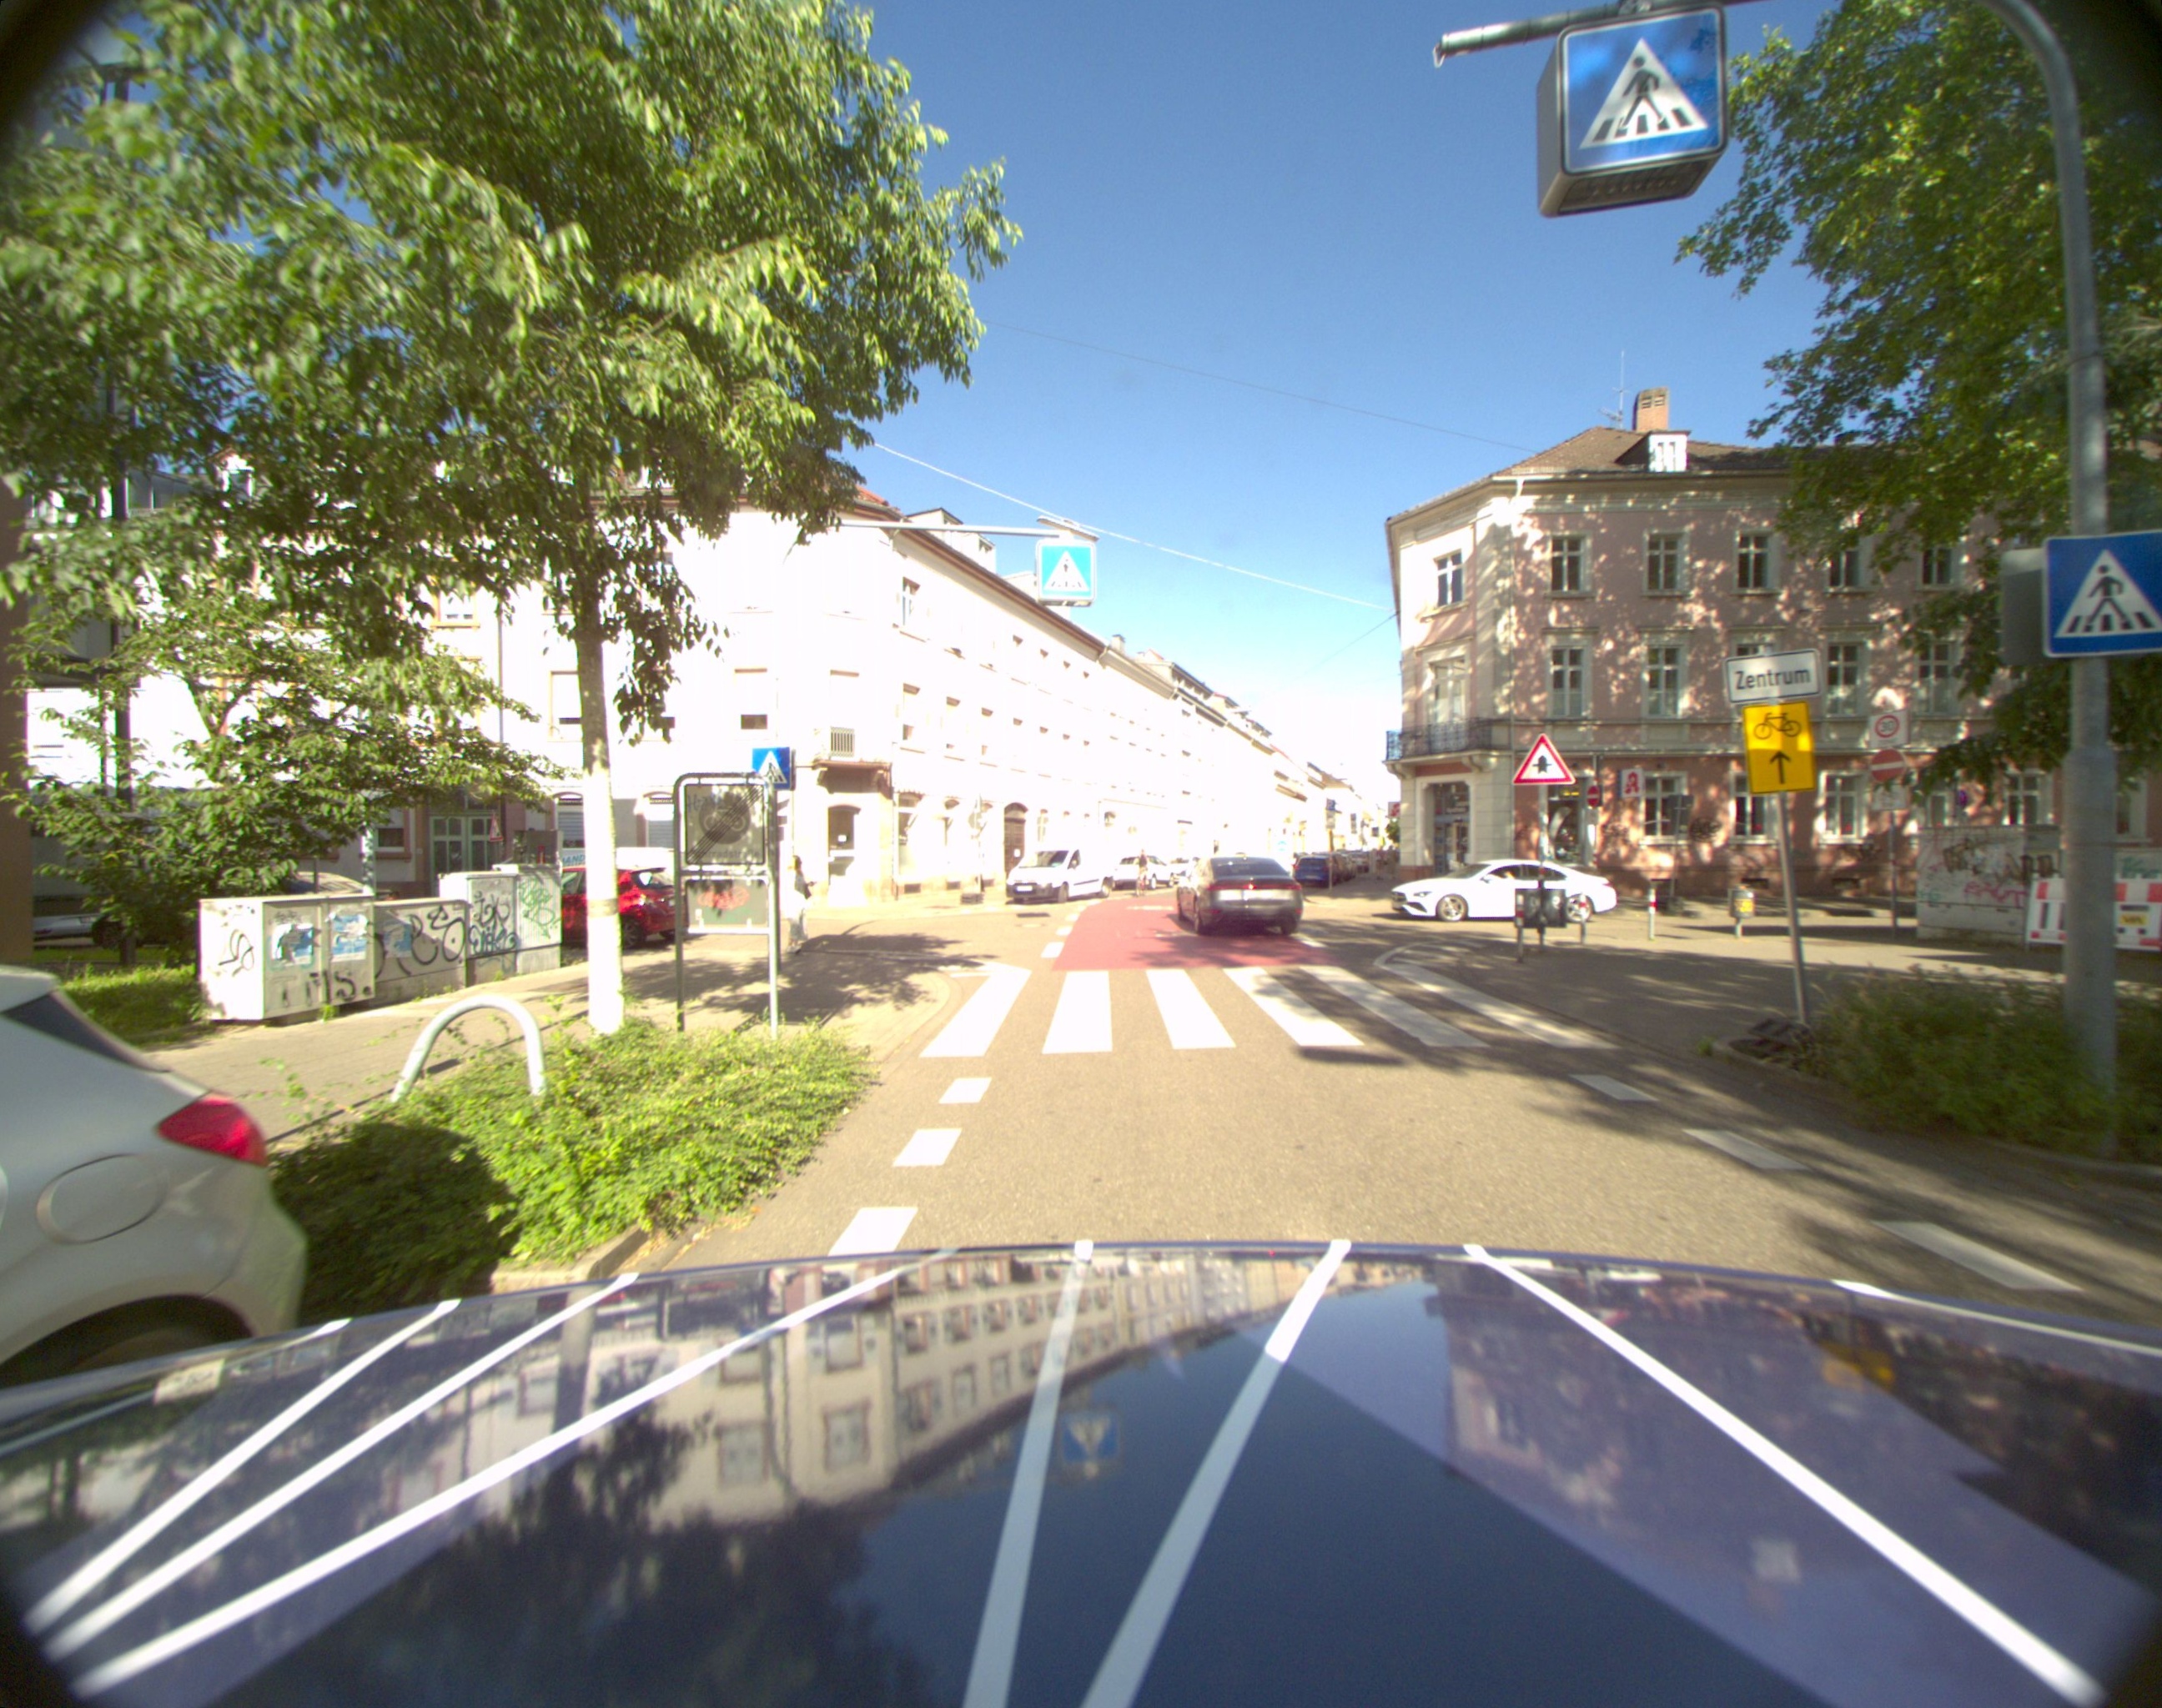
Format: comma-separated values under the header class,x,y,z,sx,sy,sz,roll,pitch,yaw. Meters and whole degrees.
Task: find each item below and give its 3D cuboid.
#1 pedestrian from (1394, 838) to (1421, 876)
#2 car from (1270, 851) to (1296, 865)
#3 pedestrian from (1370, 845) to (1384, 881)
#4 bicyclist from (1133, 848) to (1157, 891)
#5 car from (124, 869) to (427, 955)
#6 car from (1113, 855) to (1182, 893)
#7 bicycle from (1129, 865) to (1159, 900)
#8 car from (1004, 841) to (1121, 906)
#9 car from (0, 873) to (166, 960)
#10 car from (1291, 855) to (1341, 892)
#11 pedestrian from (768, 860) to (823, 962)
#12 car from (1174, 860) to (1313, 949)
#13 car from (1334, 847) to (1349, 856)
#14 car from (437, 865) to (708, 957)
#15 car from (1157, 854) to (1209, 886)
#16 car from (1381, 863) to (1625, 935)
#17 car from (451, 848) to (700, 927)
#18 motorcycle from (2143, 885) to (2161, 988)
class,x,y,z,sx,sy,sz,roll,pitch,yaw
pedestrian,16.799,0.168,39.044,0.829,1.753,0.753,-15,-3,27
car,18.952,0.351,71.230,1.703,1.292,3.645,0,1,24
pedestrian,15.400,0.480,39.587,0.570,1.846,0.708,-3,0,23
bicyclist,2.369,0.565,28.094,0.637,1.538,1.026,0,1,18
car,-15.140,1.060,14.426,4.075,1.491,1.659,-1,1,2
car,3.041,0.851,33.923,1.642,1.532,4.390,-2,0,24
bicycle,2.343,1.022,28.061,0.671,1.192,1.928,0,1,18
car,-0.480,0.563,25.412,2.046,1.934,5.033,0,0,22
car,-20.206,1.149,14.422,3.759,1.491,1.659,-1,1,2
car,11.030,0.866,35.517,1.702,1.426,3.644,2,3,24
pedestrian,-4.718,0.912,12.620,0.736,1.605,0.815,-1,1,-15
car,3.082,0.889,15.403,1.914,1.445,4.577,0,1,1
car,37.770,-0.412,110.028,1.703,1.292,3.645,0,1,24
car,-9.232,1.009,14.021,3.803,1.492,1.690,-1,2,0
car,5.365,0.788,39.634,1.628,1.532,3.645,-2,0,24
car,9.573,0.992,17.571,4.557,1.448,1.864,1,0,4
car,-12.626,0.838,19.217,5.010,1.848,1.901,0,-2,0
motorcycle,12.625,0.925,7.839,0.669,1.173,1.923,-1,-1,2
